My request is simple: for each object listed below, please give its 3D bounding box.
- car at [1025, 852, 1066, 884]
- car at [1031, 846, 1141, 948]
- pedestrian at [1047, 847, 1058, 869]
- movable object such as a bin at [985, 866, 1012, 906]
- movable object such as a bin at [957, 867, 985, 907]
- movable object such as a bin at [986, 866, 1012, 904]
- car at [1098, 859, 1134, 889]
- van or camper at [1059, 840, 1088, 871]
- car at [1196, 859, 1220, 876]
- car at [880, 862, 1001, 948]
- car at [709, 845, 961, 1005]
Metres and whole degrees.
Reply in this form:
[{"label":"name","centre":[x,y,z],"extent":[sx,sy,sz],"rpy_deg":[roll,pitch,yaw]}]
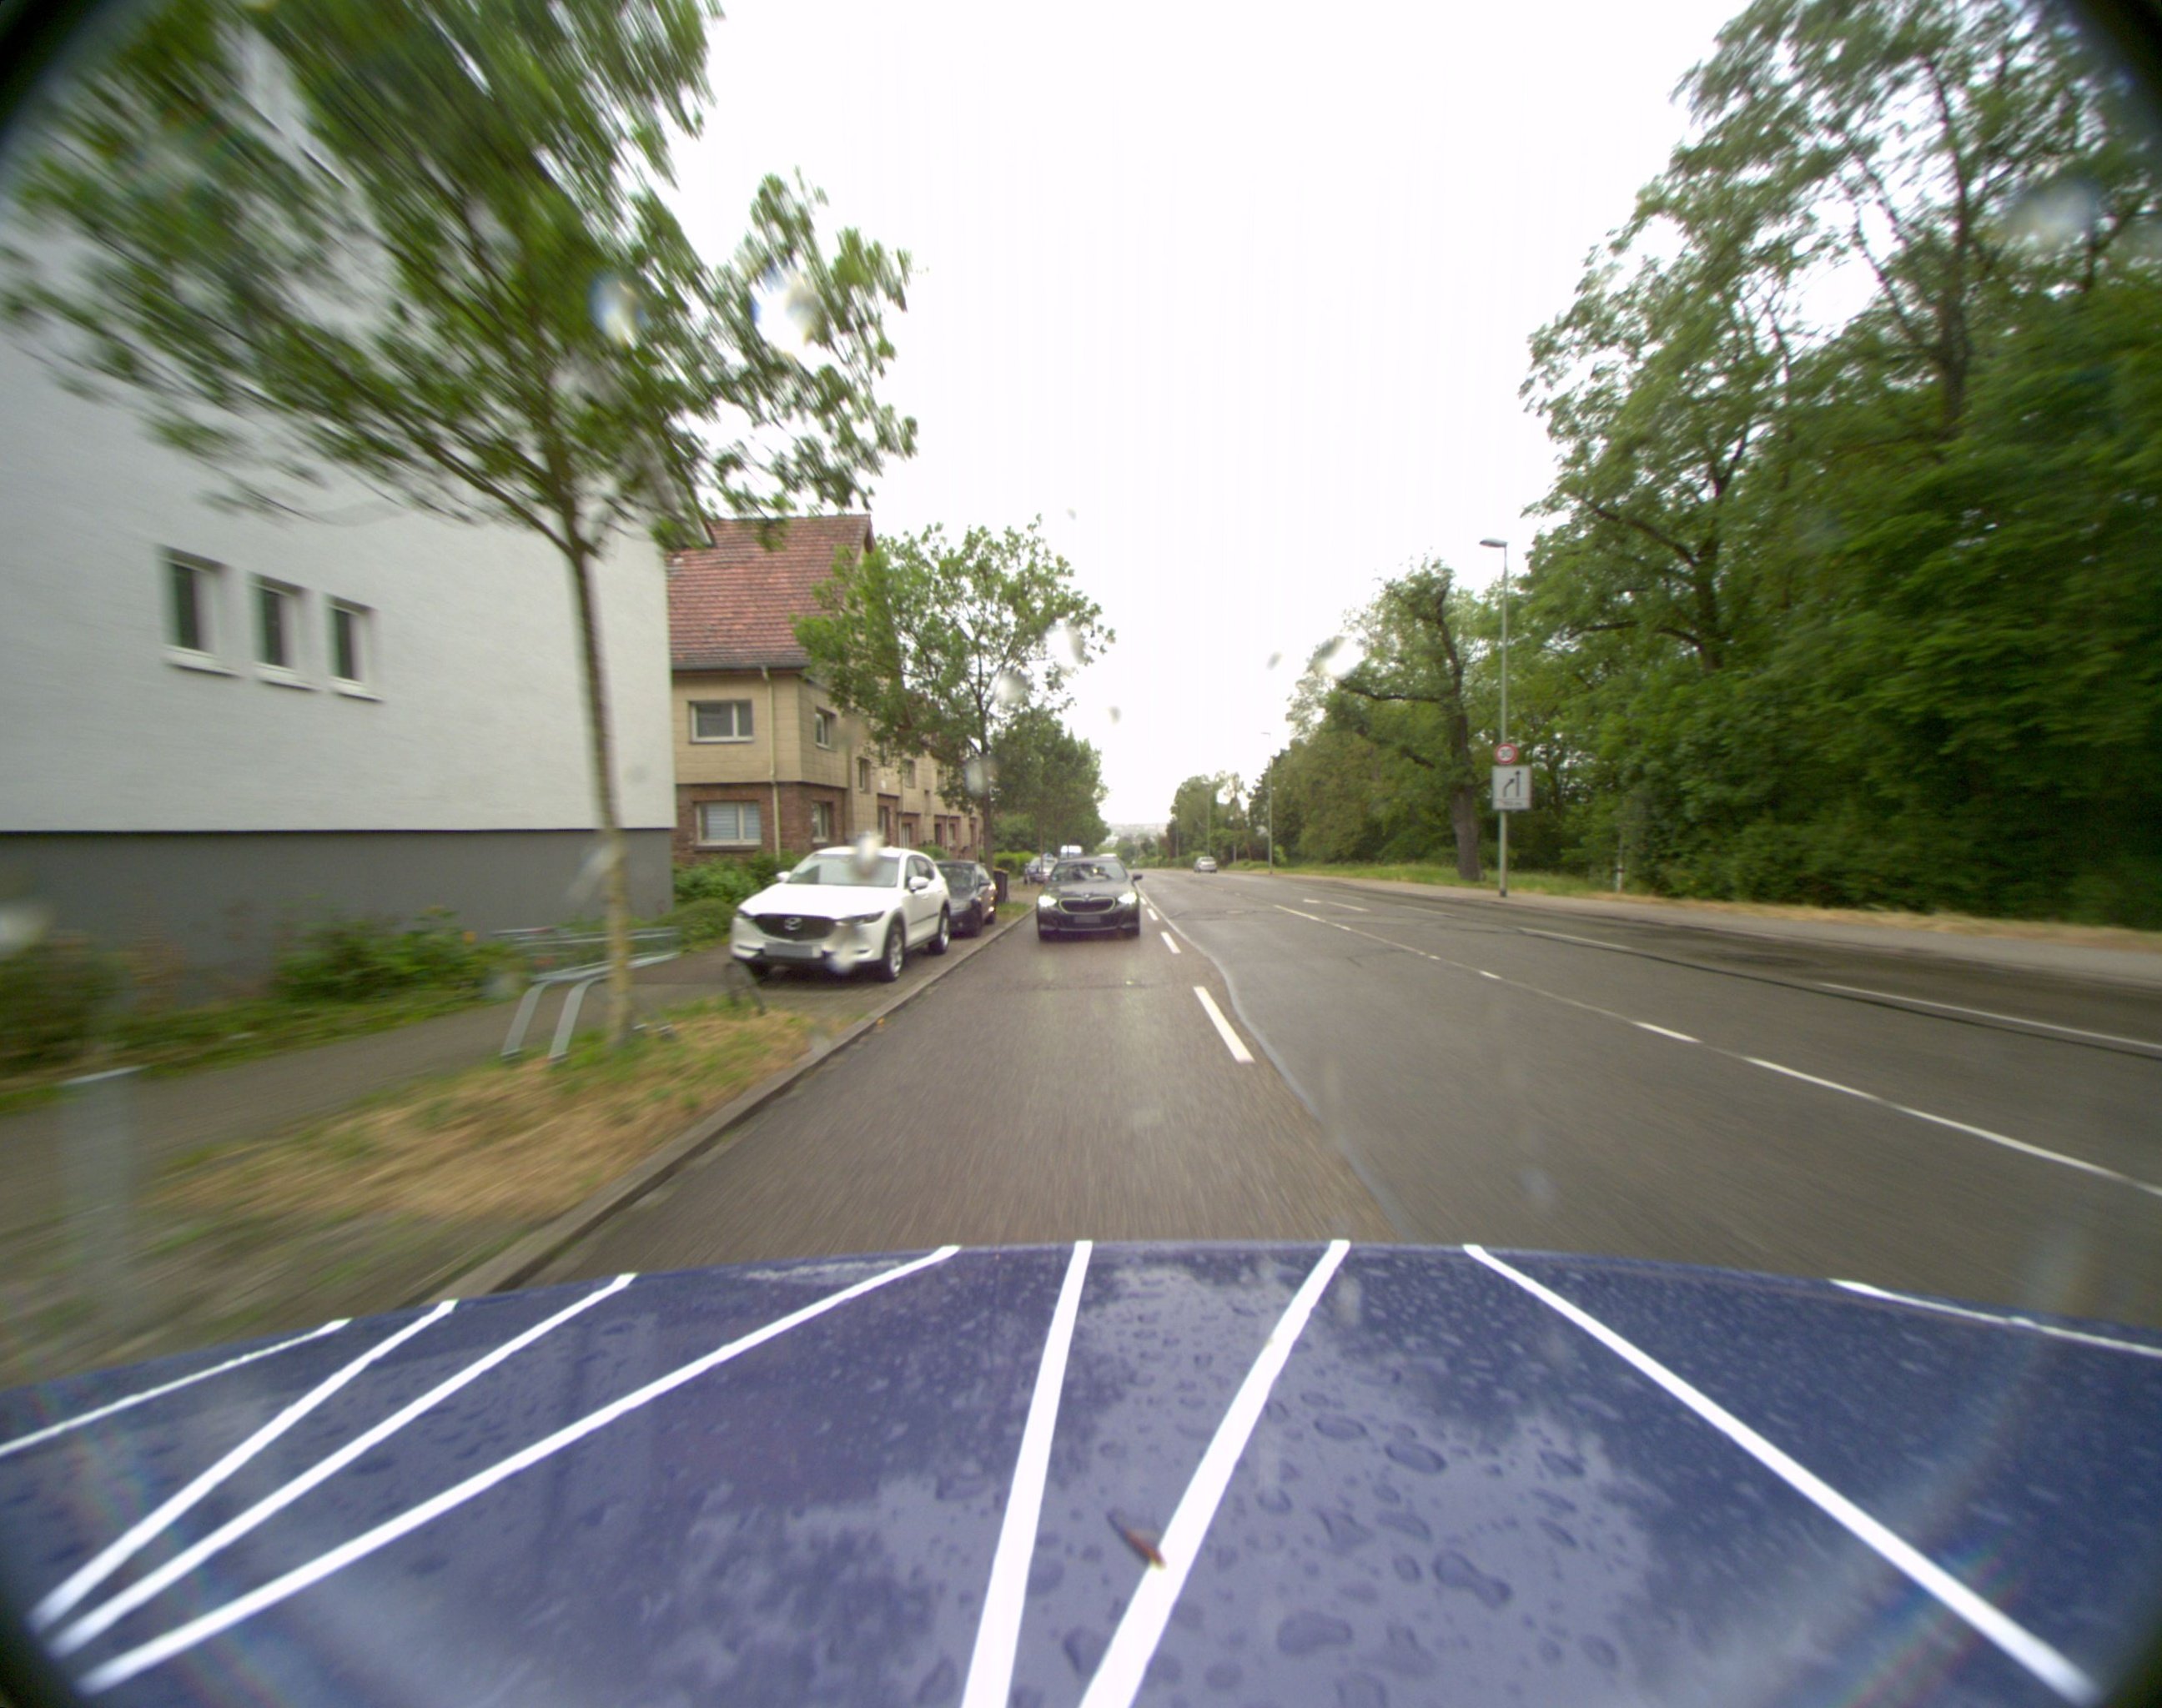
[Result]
[{"label":"car","centre":[-1.856,0.728,41.205],"extent":[1.705,1.575,4.644],"rpy_deg":[3,0,3]},{"label":"car","centre":[0.139,0.772,15.290],"extent":[1.828,1.668,4.297],"rpy_deg":[-3,-1,1]},{"label":"pedestrian","centre":[-2.174,0.335,57.613],"extent":[0.652,1.670,0.710],"rpy_deg":[0,0,10]},{"label":"movable object such as a bin","centre":[-2.226,0.856,20.575],"extent":[0.621,1.044,0.822],"rpy_deg":[1,0,-1]},{"label":"movable object such as a bin","centre":[-2.966,0.887,20.599],"extent":[0.621,1.044,0.822],"rpy_deg":[1,0,-1]},{"label":"movable object such as a bin","centre":[-2.315,0.870,21.478],"extent":[0.621,1.044,0.822],"rpy_deg":[1,0,-1]},{"label":"car","centre":[2.083,1.180,46.284],"extent":[1.998,1.674,4.174],"rpy_deg":[-1,-1,1]},{"label":"van or camper","centre":[-0.632,0.156,69.440],"extent":[2.203,2.635,7.303],"rpy_deg":[1,-1,3]},{"label":"car","centre":[11.780,1.262,70.821],"extent":[1.693,1.474,4.452],"rpy_deg":[1,0,2]},{"label":"car","centre":[-2.716,0.926,15.574],"extent":[1.645,1.440,3.998],"rpy_deg":[-1,1,1]},{"label":"car","centre":[-3.087,0.786,10.665],"extent":[1.828,1.762,4.542],"rpy_deg":[0,0,3]}]
